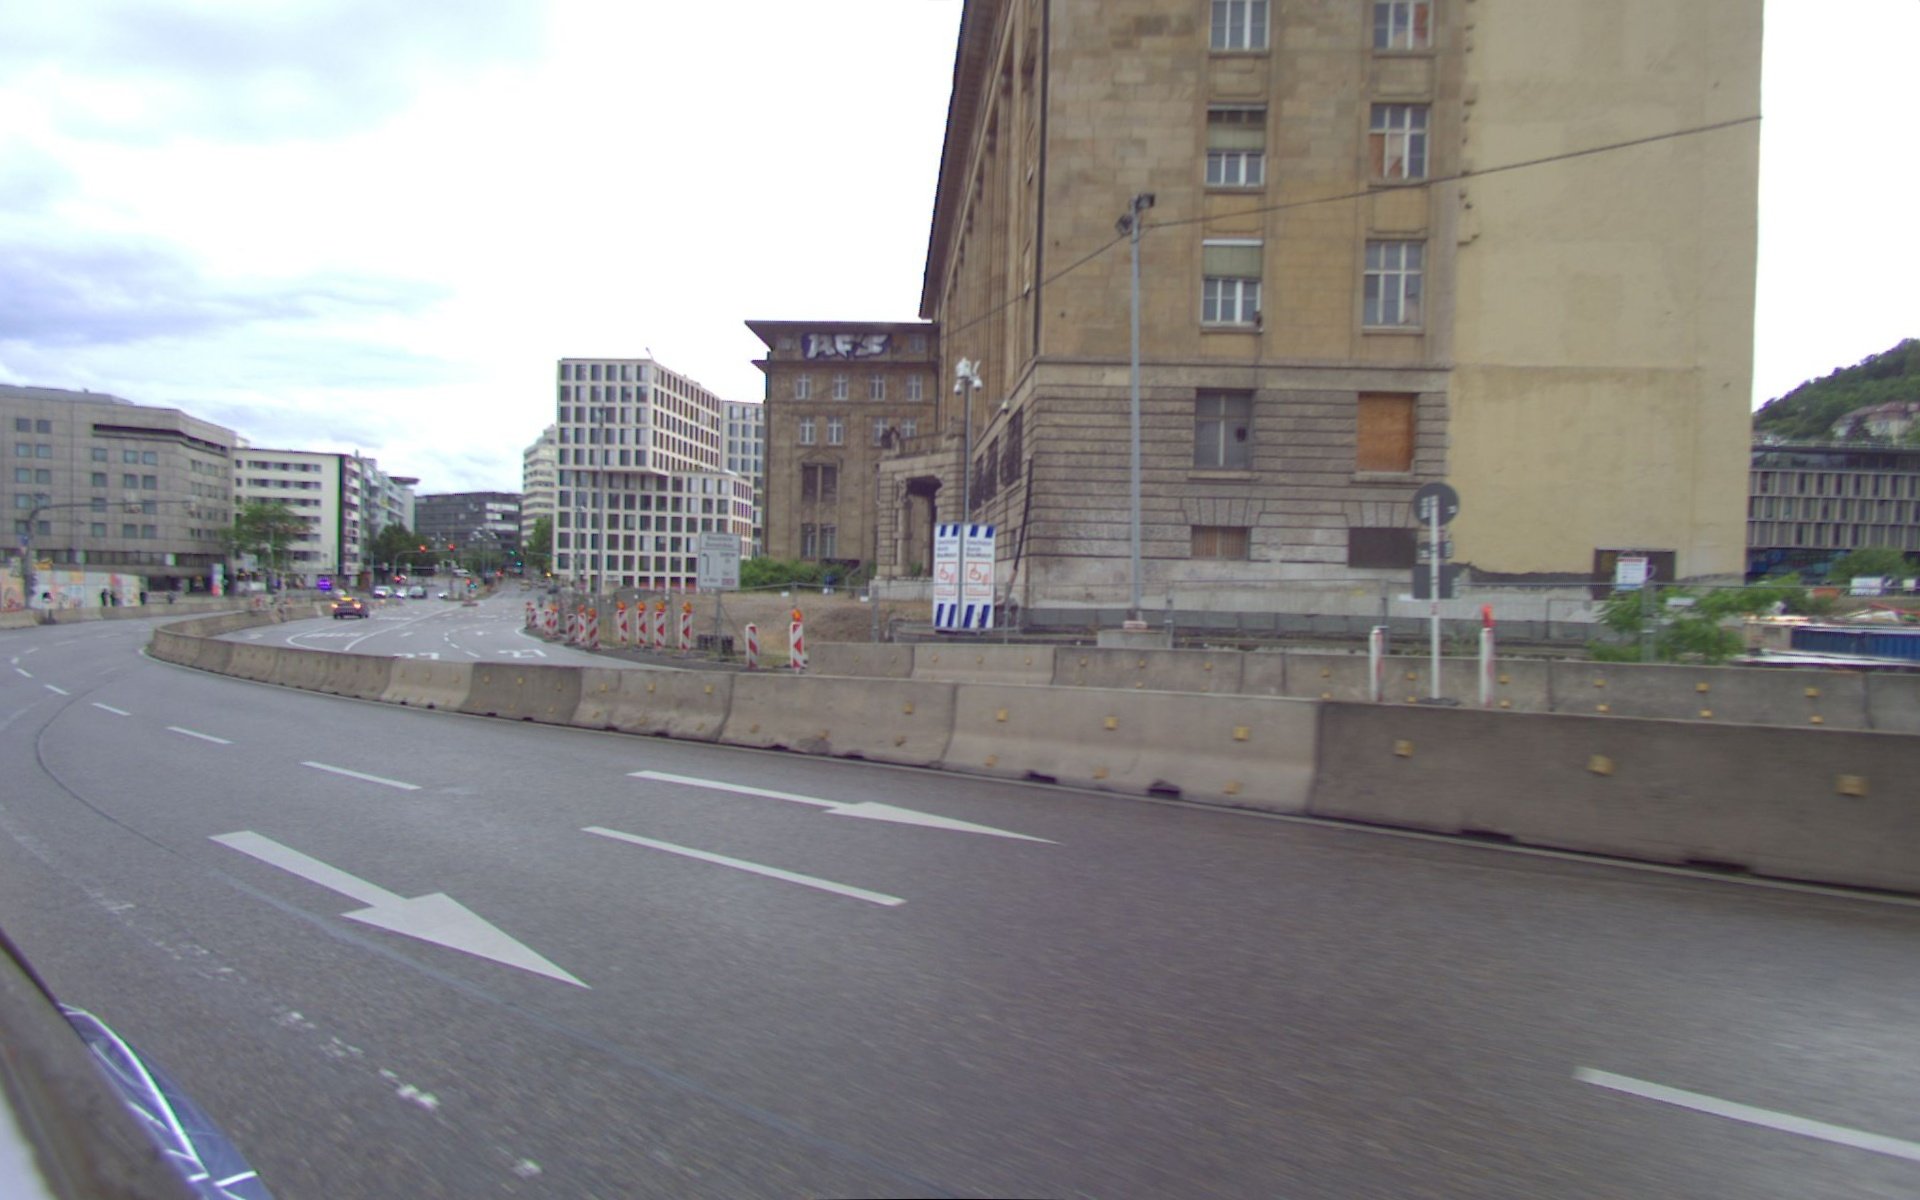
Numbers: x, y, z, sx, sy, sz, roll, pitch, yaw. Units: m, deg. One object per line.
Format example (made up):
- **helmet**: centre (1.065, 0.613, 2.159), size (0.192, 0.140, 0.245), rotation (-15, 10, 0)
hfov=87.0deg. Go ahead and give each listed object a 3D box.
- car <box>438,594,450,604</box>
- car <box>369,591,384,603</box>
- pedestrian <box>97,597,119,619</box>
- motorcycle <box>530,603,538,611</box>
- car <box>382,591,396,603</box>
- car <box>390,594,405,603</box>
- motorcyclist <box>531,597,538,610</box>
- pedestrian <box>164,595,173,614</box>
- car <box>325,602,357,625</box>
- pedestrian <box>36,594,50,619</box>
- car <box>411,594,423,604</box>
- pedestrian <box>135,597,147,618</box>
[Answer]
- **car**: centre (-85.448, -0.162, 167.461), size (1.762, 1.464, 3.684), rotation (1, 0, -28)
- **car**: centre (-94.697, -0.447, 164.354), size (1.965, 1.838, 4.013), rotation (1, 0, -28)
- **pedestrian**: centre (-70.377, 0.627, 83.589), size (1.081, 1.774, 0.909), rotation (3, -1, -22)
- **motorcycle**: centre (-50.980, 0.853, 121.138), size (0.692, 0.899, 1.829), rotation (1, 0, -28)
- **car**: centre (-97.460, -0.523, 172.772), size (1.965, 1.863, 4.013), rotation (1, 0, -28)
- **car**: centre (-91.098, -0.222, 163.810), size (1.965, 1.464, 4.013), rotation (1, 0, -28)
- **motorcyclist**: centre (-50.914, 0.406, 121.009), size (0.692, 1.498, 0.966), rotation (1, 0, -28)
- **pedestrian**: centre (-73.475, 0.403, 93.938), size (0.643, 1.774, 0.549), rotation (3, -1, -38)
- **car**: centre (-42.956, 0.918, 70.248), size (1.742, 1.532, 4.400), rotation (1, 0, -30)
- **pedestrian**: centre (-63.709, 0.464, 70.317), size (0.638, 1.682, 0.767), rotation (3, -1, -38)
- **car**: centre (-87.778, -0.165, 163.690), size (1.680, 1.464, 3.808), rotation (1, 0, -28)
- **pedestrian**: centre (-70.698, 0.636, 87.365), size (0.745, 1.774, 0.767), rotation (3, -1, -38)
